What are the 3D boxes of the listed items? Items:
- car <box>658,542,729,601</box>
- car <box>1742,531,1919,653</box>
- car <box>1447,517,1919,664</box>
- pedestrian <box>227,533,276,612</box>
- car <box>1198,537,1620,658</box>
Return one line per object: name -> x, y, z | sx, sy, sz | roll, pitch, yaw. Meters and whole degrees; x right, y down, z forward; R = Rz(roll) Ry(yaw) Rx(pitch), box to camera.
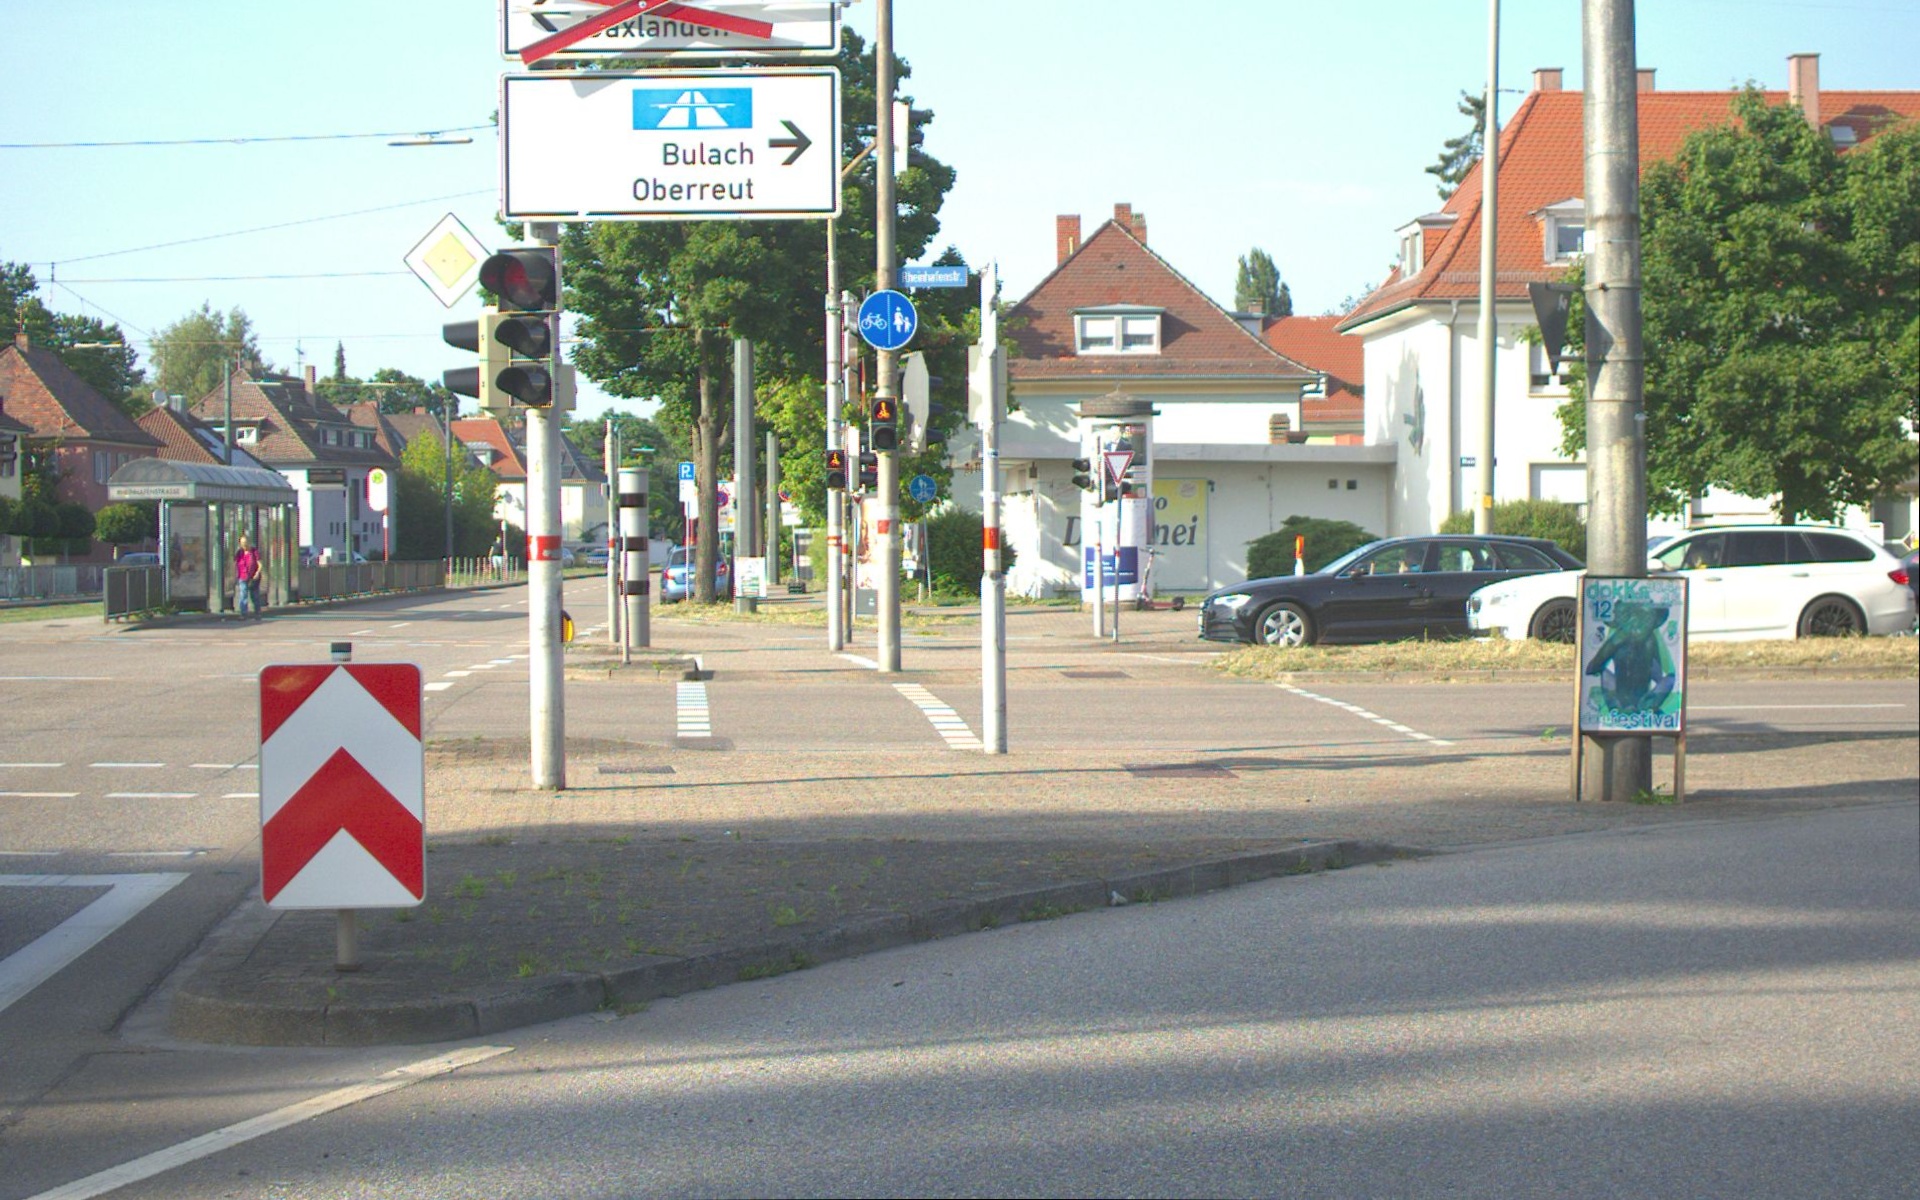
car -> -6.602, -0.705, 85.416 | 1.674, 1.393, 4.000 | 1, 0, -3
car -> 11.731, -0.120, 41.885 | 3.986, 1.448, 1.716 | 0, 1, -3
car -> 8.106, -0.121, 38.129 | 5.094, 1.557, 1.840 | 0, 1, -3
pedestrian -> -13.652, -0.530, 66.252 | 0.753, 1.494, 0.827 | 1, 0, -2
car -> 5.382, -0.048, 41.541 | 4.823, 1.406, 1.716 | 0, 1, -3
